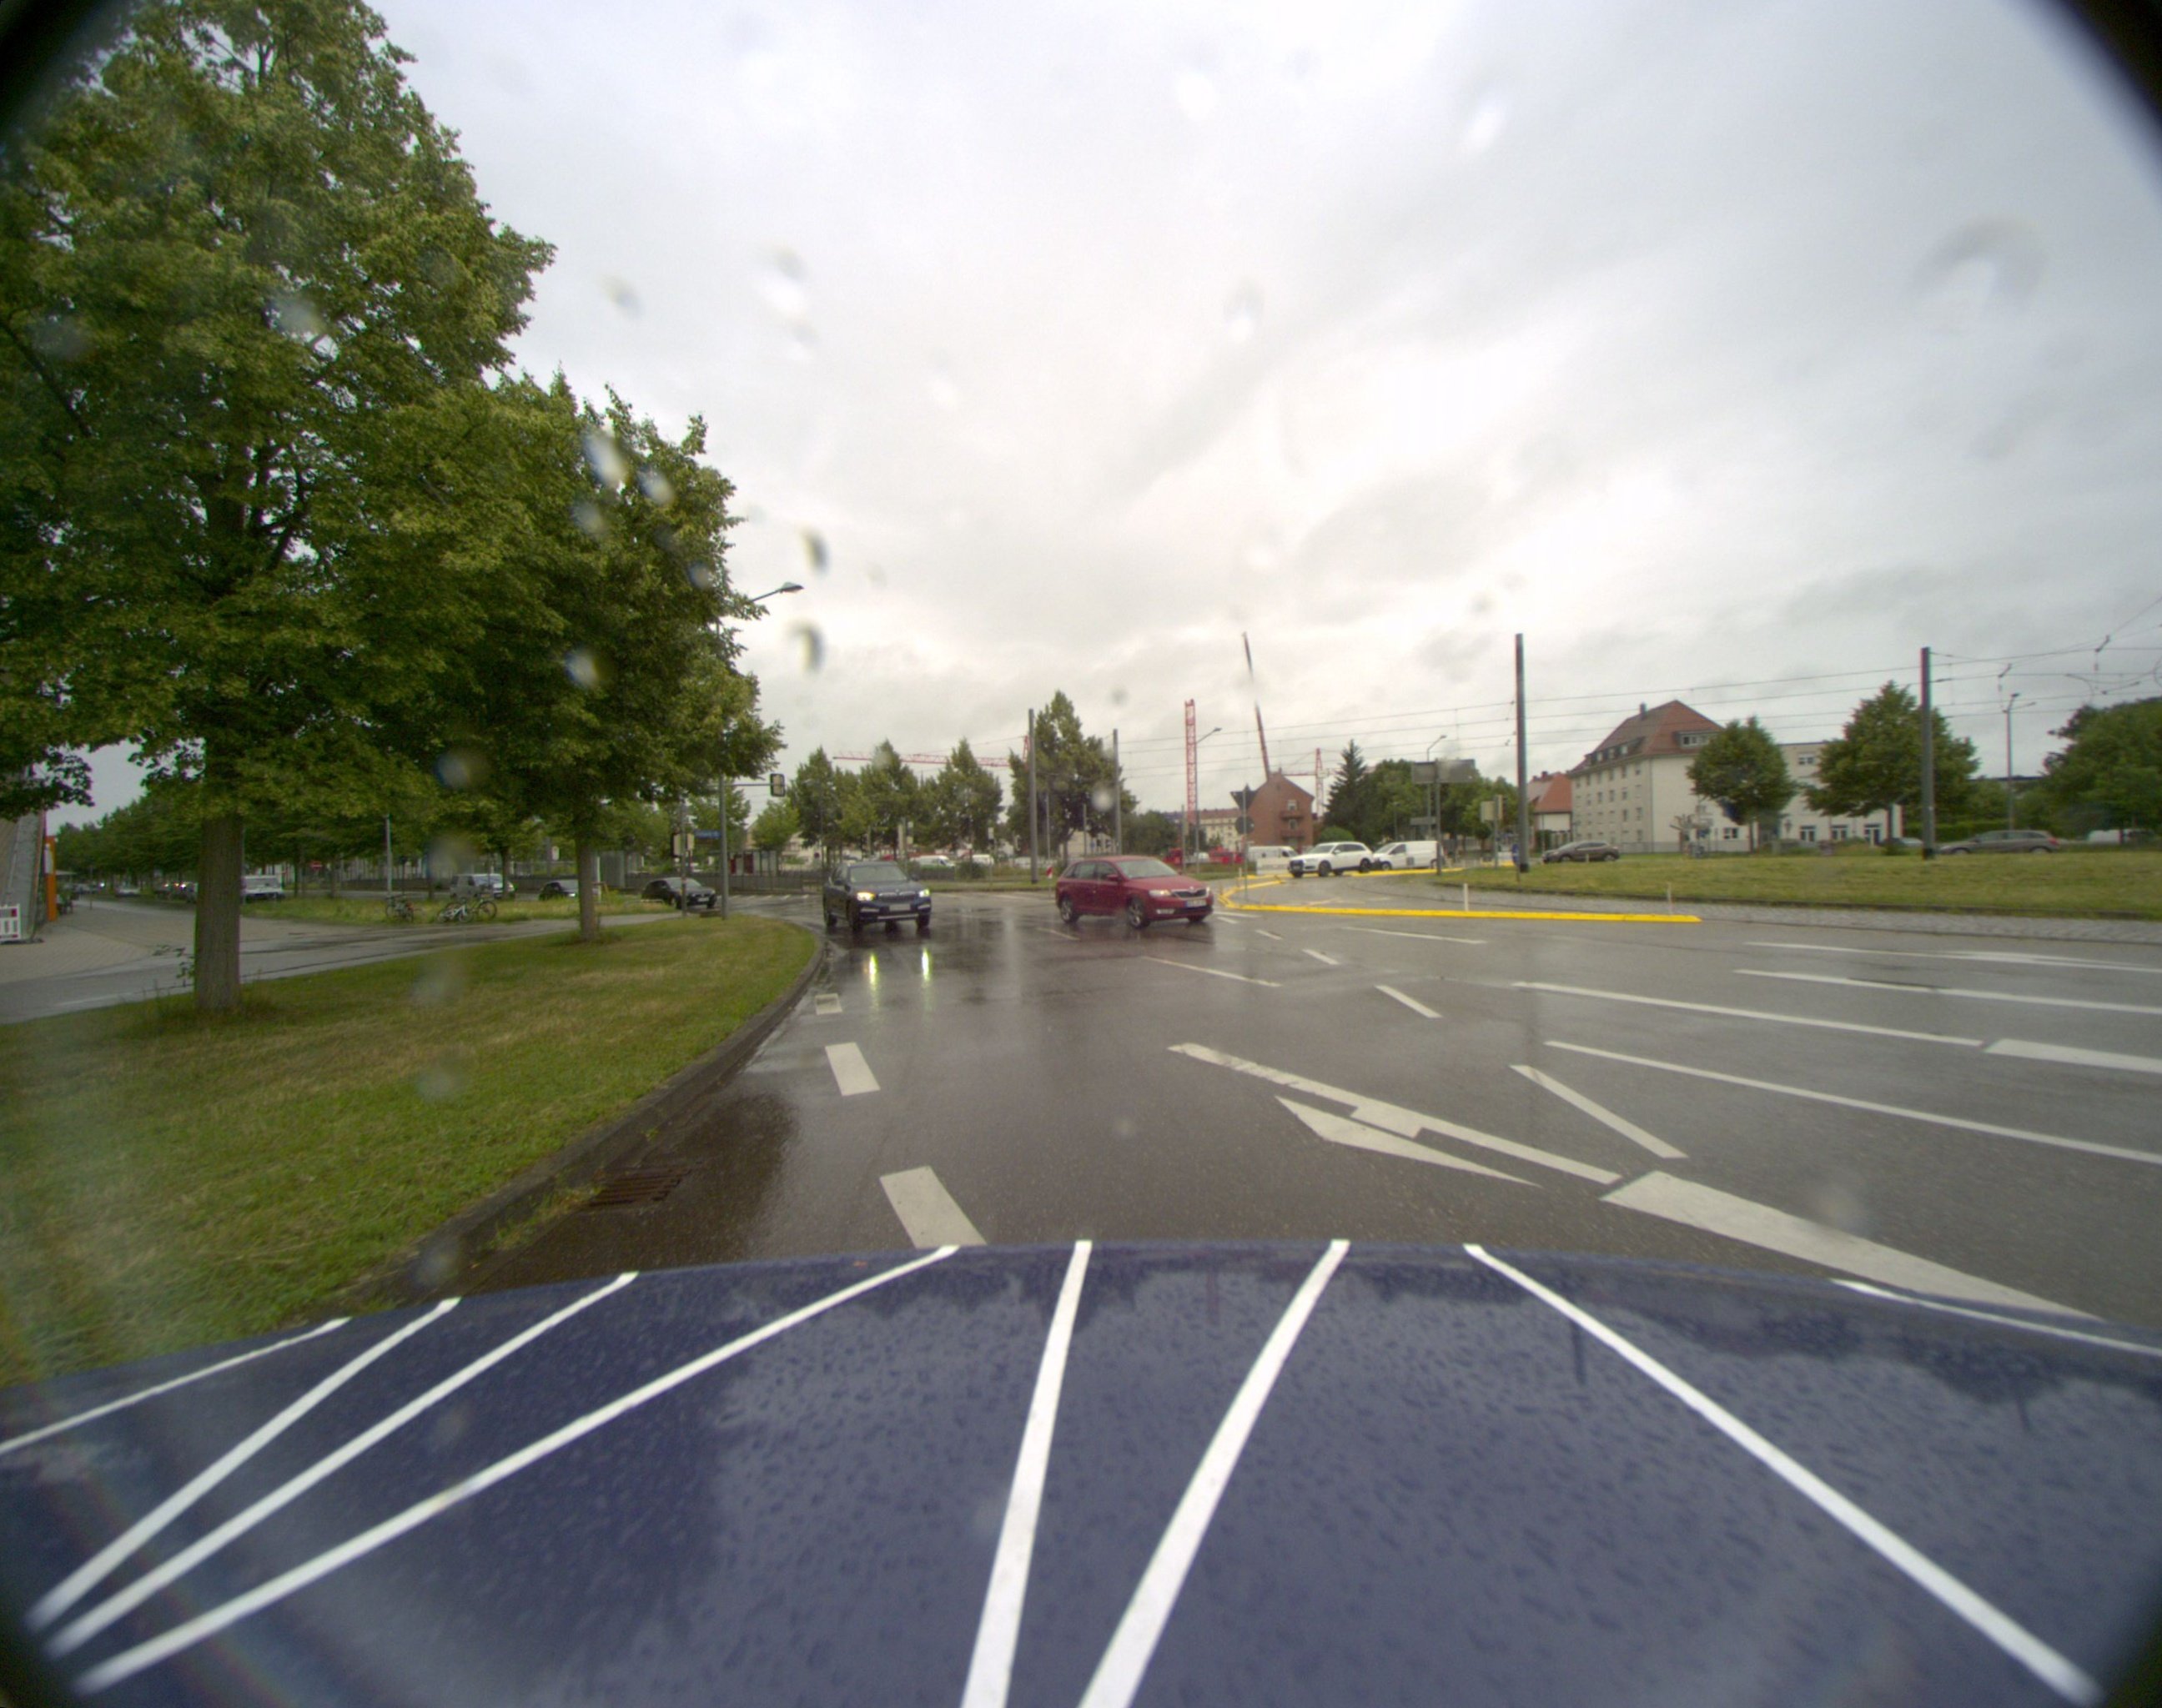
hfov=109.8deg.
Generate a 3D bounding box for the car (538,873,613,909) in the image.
[{"bbox_3d":[-26.178,1.898,39.342,3.989,1.639,1.792,-1,3,35],"label":"car"}]

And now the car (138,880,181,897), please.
[{"bbox_3d":[-93.189,3.495,76.805,3.989,1.543,2.003,-2,3,30],"label":"car"}]

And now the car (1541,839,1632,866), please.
[{"bbox_3d":[32.127,-0.098,48.370,4.543,1.484,1.612,-3,3,7],"label":"car"}]

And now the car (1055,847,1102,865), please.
[{"bbox_3d":[-0.441,0.302,117.422,6.821,2.462,2.360,-2,1,21],"label":"car"}]

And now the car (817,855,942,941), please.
[{"bbox_3d":[-5.190,0.984,19.150,1.920,1.737,4.372,-4,3,-29],"label":"car"}]

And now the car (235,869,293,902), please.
[{"bbox_3d":[-60.764,2.341,56.503,5.083,2.190,2.089,-1,3,35],"label":"car"}]

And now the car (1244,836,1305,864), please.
[{"bbox_3d":[22.164,-0.448,87.135,2.361,2.923,6.409,-5,3,-44],"label":"car"}]

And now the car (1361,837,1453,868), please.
[{"bbox_3d":[20.482,-0.121,47.802,5.024,1.634,1.829,-3,3,-7],"label":"car"}]

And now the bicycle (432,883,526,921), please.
[{"bbox_3d":[-21.123,1.669,26.702,2.526,1.182,0.552,-2,1,-14],"label":"bicycle"}]

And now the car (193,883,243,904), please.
[{"bbox_3d":[-75.000,3.428,66.008,3.989,1.543,2.003,-2,3,30],"label":"car"}]

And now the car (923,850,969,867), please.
[{"bbox_3d":[-21.795,0.808,122.455,7.618,2.463,2.360,-1,3,31],"label":"car"}]

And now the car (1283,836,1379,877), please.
[{"bbox_3d":[12.782,0.086,38.708,4.872,1.734,1.773,-4,3,-29],"label":"car"}]

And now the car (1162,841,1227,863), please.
[{"bbox_3d":[11.577,-0.209,78.184,2.361,2.003,6.409,-5,3,-44],"label":"car"}]

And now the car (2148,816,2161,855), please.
[{"bbox_3d":[50.771,-0.843,33.104,1.780,1.734,4.854,-4,3,-31],"label":"car"}]

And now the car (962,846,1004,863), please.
[{"bbox_3d":[-16.425,0.079,126.903,6.818,2.463,2.505,-1,3,31],"label":"car"}]

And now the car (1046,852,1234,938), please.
[{"bbox_3d":[1.097,0.754,16.259,1.791,1.451,4.304,-4,3,-31],"label":"car"}]

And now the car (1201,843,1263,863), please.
[{"bbox_3d":[16.404,-0.084,83.028,2.361,2.002,6.410,-2,0,-44],"label":"car"}]

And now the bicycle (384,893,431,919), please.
[{"bbox_3d":[-24.064,1.846,27.127,2.158,0.842,0.637,-2,1,32],"label":"bicycle"}]

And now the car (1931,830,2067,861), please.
[{"bbox_3d":[50.002,-0.444,41.527,4.536,1.484,1.614,-1,3,41],"label":"car"}]

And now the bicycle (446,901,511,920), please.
[{"bbox_3d":[-20.974,1.966,26.465,1.803,0.555,0.320,-2,1,-14],"label":"bicycle"}]

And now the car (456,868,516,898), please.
[{"bbox_3d":[-37.271,1.792,47.586,3.989,1.639,1.792,-1,3,35],"label":"car"}]

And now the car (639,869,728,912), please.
[{"bbox_3d":[-18.252,1.613,34.835,4.370,1.737,1.921,-1,3,39],"label":"car"}]
